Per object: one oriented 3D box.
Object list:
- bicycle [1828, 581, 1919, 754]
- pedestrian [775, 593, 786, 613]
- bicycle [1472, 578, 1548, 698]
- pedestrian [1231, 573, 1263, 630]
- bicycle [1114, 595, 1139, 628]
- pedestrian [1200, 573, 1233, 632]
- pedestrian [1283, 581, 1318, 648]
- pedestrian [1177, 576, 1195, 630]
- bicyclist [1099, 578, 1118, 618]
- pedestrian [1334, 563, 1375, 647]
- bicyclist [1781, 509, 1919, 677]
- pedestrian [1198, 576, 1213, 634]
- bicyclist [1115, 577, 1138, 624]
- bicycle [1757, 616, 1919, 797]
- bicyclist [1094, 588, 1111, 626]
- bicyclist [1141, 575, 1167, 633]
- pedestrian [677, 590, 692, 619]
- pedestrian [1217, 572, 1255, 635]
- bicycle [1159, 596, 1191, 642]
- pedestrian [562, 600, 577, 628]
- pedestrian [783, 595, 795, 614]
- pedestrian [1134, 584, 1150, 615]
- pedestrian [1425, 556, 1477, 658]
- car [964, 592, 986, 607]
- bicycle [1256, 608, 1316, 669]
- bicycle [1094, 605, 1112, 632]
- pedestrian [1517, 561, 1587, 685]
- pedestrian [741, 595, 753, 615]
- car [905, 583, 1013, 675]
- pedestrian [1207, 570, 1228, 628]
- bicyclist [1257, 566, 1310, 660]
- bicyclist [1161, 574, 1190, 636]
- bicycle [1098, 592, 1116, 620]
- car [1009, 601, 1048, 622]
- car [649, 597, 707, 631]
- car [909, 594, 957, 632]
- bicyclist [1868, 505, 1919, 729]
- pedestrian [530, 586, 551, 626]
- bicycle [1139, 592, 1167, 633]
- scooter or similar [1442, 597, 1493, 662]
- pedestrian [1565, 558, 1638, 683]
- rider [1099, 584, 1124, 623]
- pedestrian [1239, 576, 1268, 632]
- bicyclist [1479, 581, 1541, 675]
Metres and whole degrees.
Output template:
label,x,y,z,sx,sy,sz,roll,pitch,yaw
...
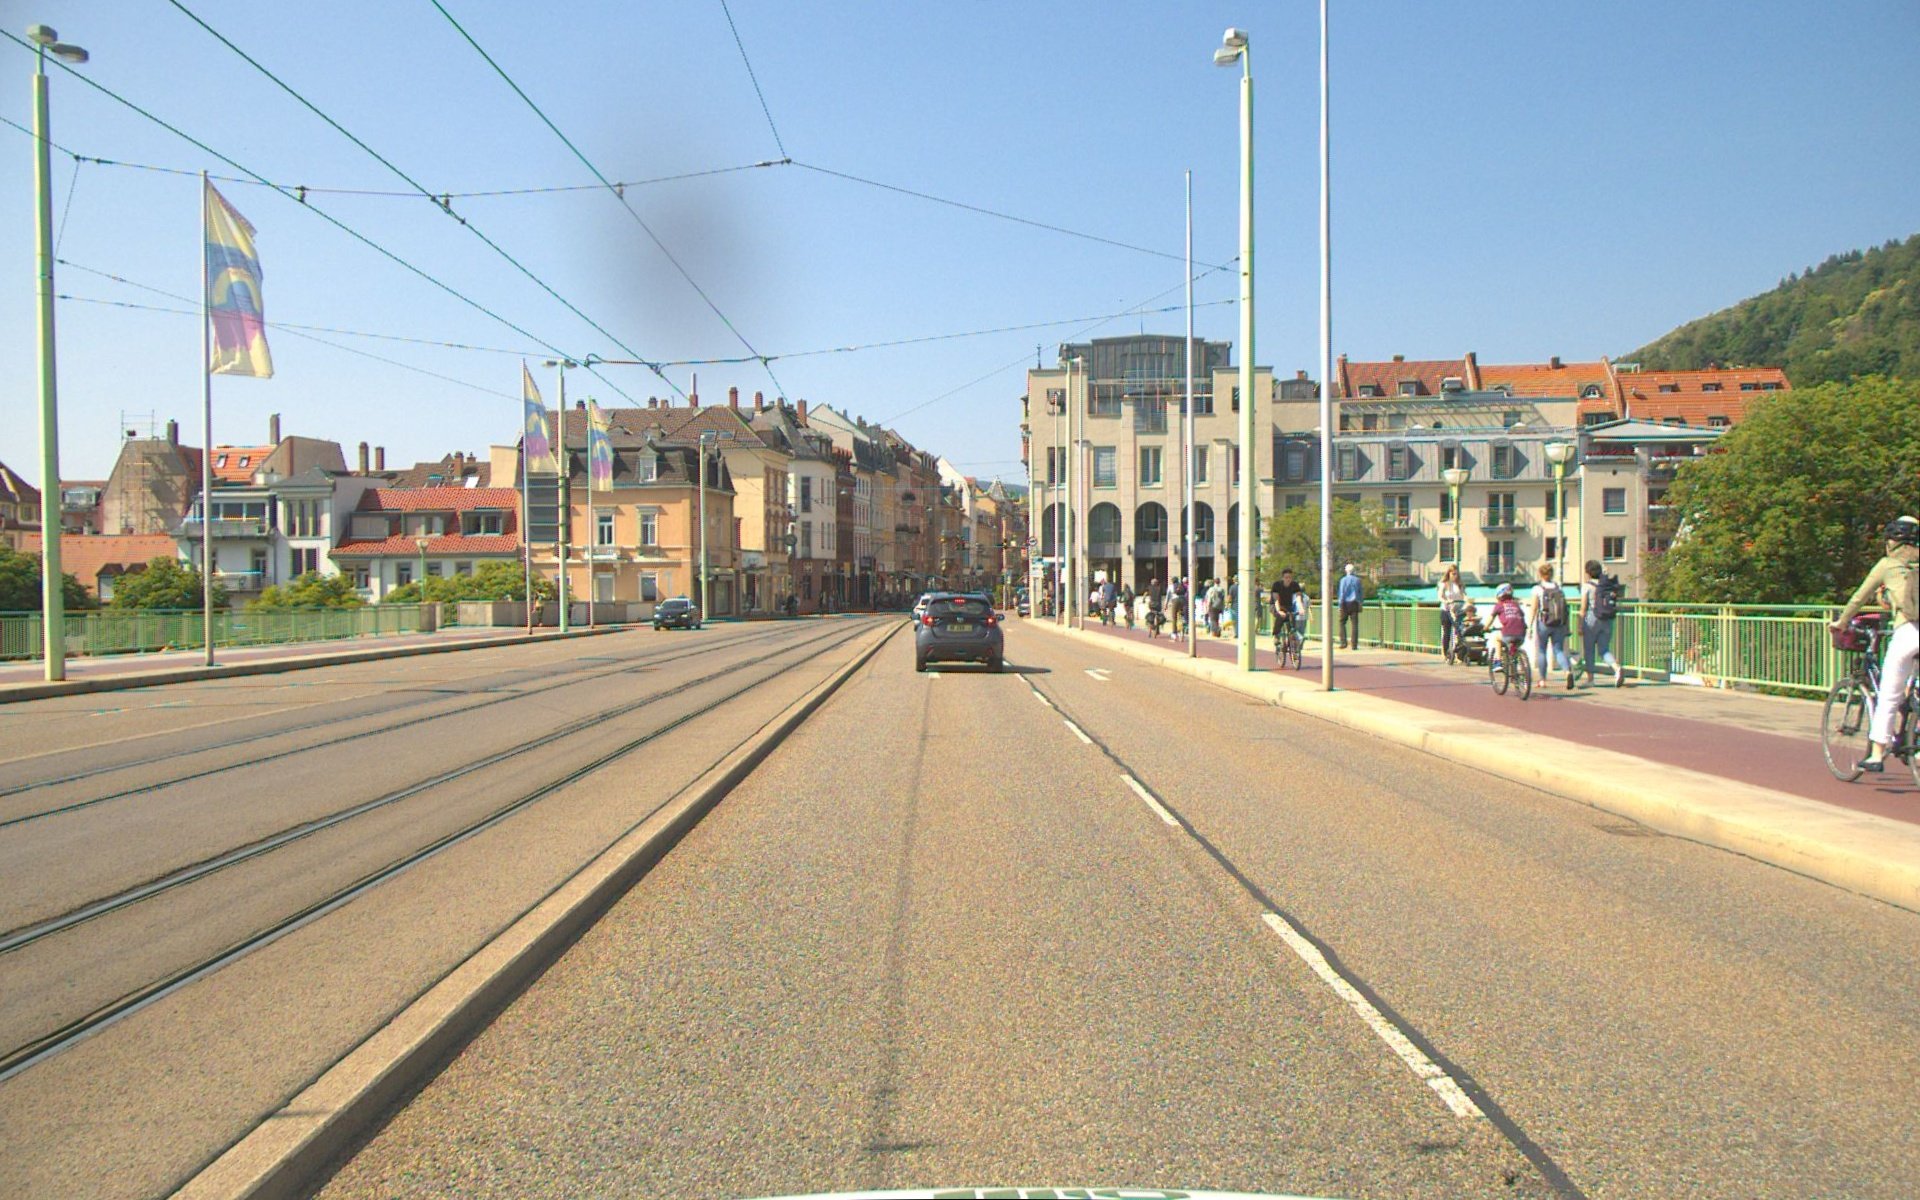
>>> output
label,x,y,z,sx,sy,sz,roll,pitch,yaw
bicycle,7.497,0.503,12.513,0.606,1.293,2.215,0,1,-3
pedestrian,-13.426,0.224,123.705,0.747,1.422,0.663,0,0,1
bicycle,6.745,0.433,20.365,0.523,1.391,2.218,0,1,9
pedestrian,8.755,0.046,50.491,0.817,1.719,0.869,0,0,-1
bicycle,6.195,0.423,61.544,0.653,1.198,2.028,0,1,-2
pedestrian,7.622,0.074,49.185,0.817,1.719,0.869,0,0,-1
pedestrian,7.716,0.321,37.544,0.601,1.491,0.848,0,1,-1
pedestrian,7.193,0.086,52.569,0.417,1.701,0.620,2,0,-1
bicyclist,6.478,-0.097,72.368,0.779,1.705,0.869,0,0,2
pedestrian,8.750,0.097,36.712,0.698,1.842,0.848,0,0,-1
bicyclist,6.104,-0.051,10.950,0.720,1.048,1.175,0,1,-3
pedestrian,7.812,0.146,52.665,0.360,1.826,0.604,1,0,-1
bicyclist,6.190,0.013,61.549,0.701,1.705,0.868,0,0,-2
bicycle,6.118,0.663,10.961,0.606,1.055,2.050,0,1,-3
bicyclist,5.961,0.273,69.070,0.638,1.556,0.975,0,1,2
bicyclist,5.830,0.112,49.739,0.615,1.719,0.868,0,0,-2
pedestrian,-16.057,0.272,96.446,0.747,1.694,0.663,0,0,1
pedestrian,7.938,0.097,47.550,0.911,1.792,0.937,0,0,-1
bicycle,5.944,0.511,45.796,0.581,1.198,1.939,0,1,-2
pedestrian,-18.996,0.694,80.487,0.561,1.327,0.543,0,0,1
pedestrian,-12.589,0.328,121.710,0.747,1.422,0.663,0,0,1
pedestrian,8.555,-0.022,77.837,0.643,1.476,0.644,0,0,-4
pedestrian,8.726,0.121,29.430,0.629,1.787,0.866,0,0,-3
car,1.467,-0.033,160.936,1.838,1.433,4.002,0,1,4
bicycle,5.735,0.658,29.221,0.639,0.998,2.178,-2,0,1
bicycle,5.952,0.768,69.013,0.652,1.068,2.029,0,1,2
pedestrian,7.868,0.288,22.019,0.587,1.613,0.866,0,1,-3
pedestrian,-15.629,0.344,121.391,0.747,1.422,0.663,0,0,1
car,-0.084,0.534,33.356,1.872,1.567,3.998,-3,2,-3
pedestrian,7.921,-0.039,50.884,0.517,1.778,0.728,0,0,-1
bicyclist,5.719,0.224,29.273,0.639,1.594,1.338,-2,0,1
bicyclist,5.946,0.135,45.639,0.643,1.705,0.868,0,0,-2
bicycle,6.446,0.268,72.520,0.652,1.198,2.029,0,1,2
car,5.373,0.863,128.770,1.767,1.494,4.000,-2,1,21
car,-13.216,0.643,77.725,1.952,1.505,4.001,0,1,1
car,-1.166,0.520,69.499,1.768,1.494,3.997,-2,1,-4
bicyclist,7.492,0.123,12.538,0.720,1.664,0.866,0,0,-3
pedestrian,-19.159,0.266,75.500,0.747,1.818,0.663,0,0,1
bicycle,5.793,0.359,49.713,0.515,1.198,2.028,0,1,-2
scooter or similar,8.761,0.494,28.557,0.576,1.088,0.865,0,1,-3
pedestrian,8.481,0.257,21.887,0.587,1.613,0.866,0,1,-3
rider,5.986,0.144,65.239,0.871,1.531,0.841,0,1,-3
pedestrian,8.787,0.116,49.561,0.698,1.680,0.848,0,0,0
bicyclist,6.752,0.332,20.333,0.586,1.120,0.853,0,1,9
